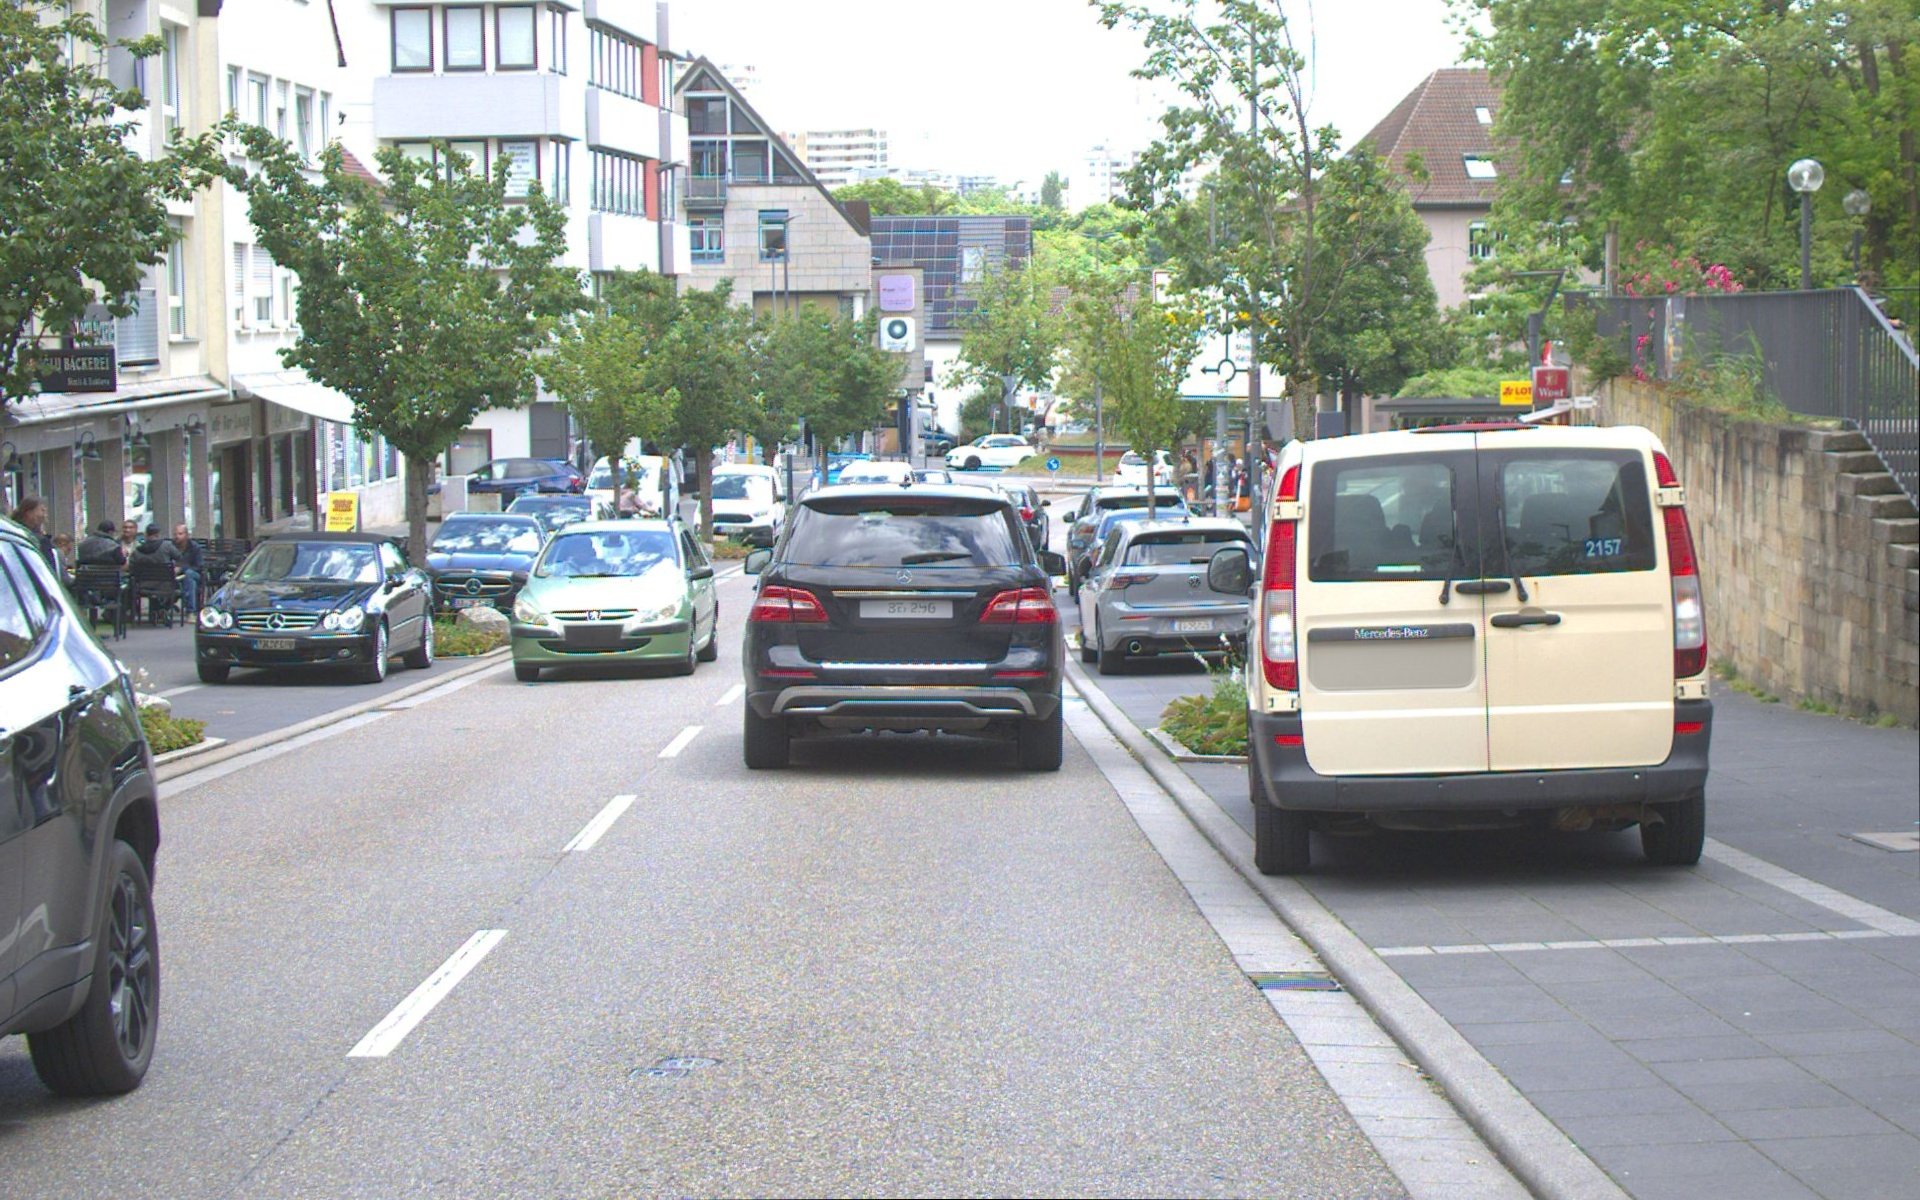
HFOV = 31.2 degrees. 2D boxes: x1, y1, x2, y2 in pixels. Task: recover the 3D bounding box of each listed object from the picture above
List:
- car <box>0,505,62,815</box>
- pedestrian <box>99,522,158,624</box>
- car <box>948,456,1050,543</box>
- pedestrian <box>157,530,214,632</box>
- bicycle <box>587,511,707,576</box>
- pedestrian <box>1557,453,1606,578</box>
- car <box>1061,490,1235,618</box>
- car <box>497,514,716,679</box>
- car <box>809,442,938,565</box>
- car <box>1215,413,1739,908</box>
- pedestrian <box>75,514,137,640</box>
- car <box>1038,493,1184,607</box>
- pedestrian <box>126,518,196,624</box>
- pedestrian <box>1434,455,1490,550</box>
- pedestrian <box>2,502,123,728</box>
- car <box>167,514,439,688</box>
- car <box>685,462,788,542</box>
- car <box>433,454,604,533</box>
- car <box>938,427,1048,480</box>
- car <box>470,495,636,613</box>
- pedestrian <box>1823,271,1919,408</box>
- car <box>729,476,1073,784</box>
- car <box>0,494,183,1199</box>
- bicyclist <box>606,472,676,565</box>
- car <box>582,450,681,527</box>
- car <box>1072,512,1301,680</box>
[{"bbox_3d":[-5.893,0.329,17.069,1.926,1.590,4.459,2,2,-4],"label":"car"},{"bbox_3d":[-10.515,-0.343,43.474,0.565,1.277,0.759,0,1,-1],"label":"pedestrian"},{"bbox_3d":[0.748,-2.030,68.742,1.926,1.623,4.262,2,2,0],"label":"car"},{"bbox_3d":[-9.781,-0.249,43.423,0.565,1.277,0.759,0,1,-1],"label":"pedestrian"},{"bbox_3d":[-5.560,-1.011,61.066,1.956,1.054,0.712,-3,2,-27],"label":"bicycle"},{"bbox_3d":[7.959,-1.077,44.065,0.568,1.581,0.666,-1,1,8],"label":"pedestrian"},{"bbox_3d":[2.365,-0.631,44.317,1.938,1.452,4.707,-3,2,0],"label":"car"},{"bbox_3d":[-3.443,-0.086,34.122,1.812,1.503,4.001,-1,1,-1],"label":"car"},{"bbox_3d":[-1.755,-2.004,71.372,2.174,2.356,4.622,-3,1,4],"label":"car"},{"bbox_3d":[2.220,0.154,15.960,1.938,1.885,4.707,-2,2,4],"label":"car"},{"bbox_3d":[-10.467,-0.286,42.149,0.573,1.529,0.676,-1,1,-1],"label":"pedestrian"},{"bbox_3d":[2.168,-0.778,50.618,1.938,1.539,4.707,-1,2,0],"label":"car"},{"bbox_3d":[-9.795,-0.365,42.152,0.686,1.277,0.676,-1,1,-1],"label":"pedestrian"},{"bbox_3d":[10.471,-2.035,71.734,1.050,1.906,0.937,-2,1,7],"label":"pedestrian"},{"bbox_3d":[-6.686,0.099,25.636,0.727,1.662,0.720,0,1,-1],"label":"pedestrian"},{"bbox_3d":[-6.351,-0.042,33.693,1.926,1.491,4.263,2,2,-2],"label":"car"},{"bbox_3d":[-4.811,-2.135,74.454,1.926,1.623,4.262,2,2,0],"label":"car"},{"bbox_3d":[-10.854,-2.611,84.690,3.986,1.744,2.000,-3,1,-4],"label":"car"},{"bbox_3d":[1.323,-5.922,139.038,4.070,2.006,2.001,1,2,-13],"label":"car"},{"bbox_3d":[-5.891,-0.714,50.185,1.926,1.623,4.262,0,2,0],"label":"car"},{"bbox_3d":[8.699,-2.433,32.215,0.990,1.227,0.984,0,1,1],"label":"pedestrian"},{"bbox_3d":[-0.345,0.106,21.769,1.943,1.734,4.179,1,2,0],"label":"car"},{"bbox_3d":[-3.047,0.586,7.657,1.764,1.611,4.033,-1,1,-1],"label":"car"},{"bbox_3d":[-5.662,-1.442,61.002,0.962,1.604,0.730,-3,1,-27],"label":"bicyclist"},{"bbox_3d":[-7.357,-2.517,77.415,1.926,1.623,4.415,2,2,-2],"label":"car"},{"bbox_3d":[2.151,-0.097,33.837,1.938,1.452,4.707,-1,2,0],"label":"car"}]
